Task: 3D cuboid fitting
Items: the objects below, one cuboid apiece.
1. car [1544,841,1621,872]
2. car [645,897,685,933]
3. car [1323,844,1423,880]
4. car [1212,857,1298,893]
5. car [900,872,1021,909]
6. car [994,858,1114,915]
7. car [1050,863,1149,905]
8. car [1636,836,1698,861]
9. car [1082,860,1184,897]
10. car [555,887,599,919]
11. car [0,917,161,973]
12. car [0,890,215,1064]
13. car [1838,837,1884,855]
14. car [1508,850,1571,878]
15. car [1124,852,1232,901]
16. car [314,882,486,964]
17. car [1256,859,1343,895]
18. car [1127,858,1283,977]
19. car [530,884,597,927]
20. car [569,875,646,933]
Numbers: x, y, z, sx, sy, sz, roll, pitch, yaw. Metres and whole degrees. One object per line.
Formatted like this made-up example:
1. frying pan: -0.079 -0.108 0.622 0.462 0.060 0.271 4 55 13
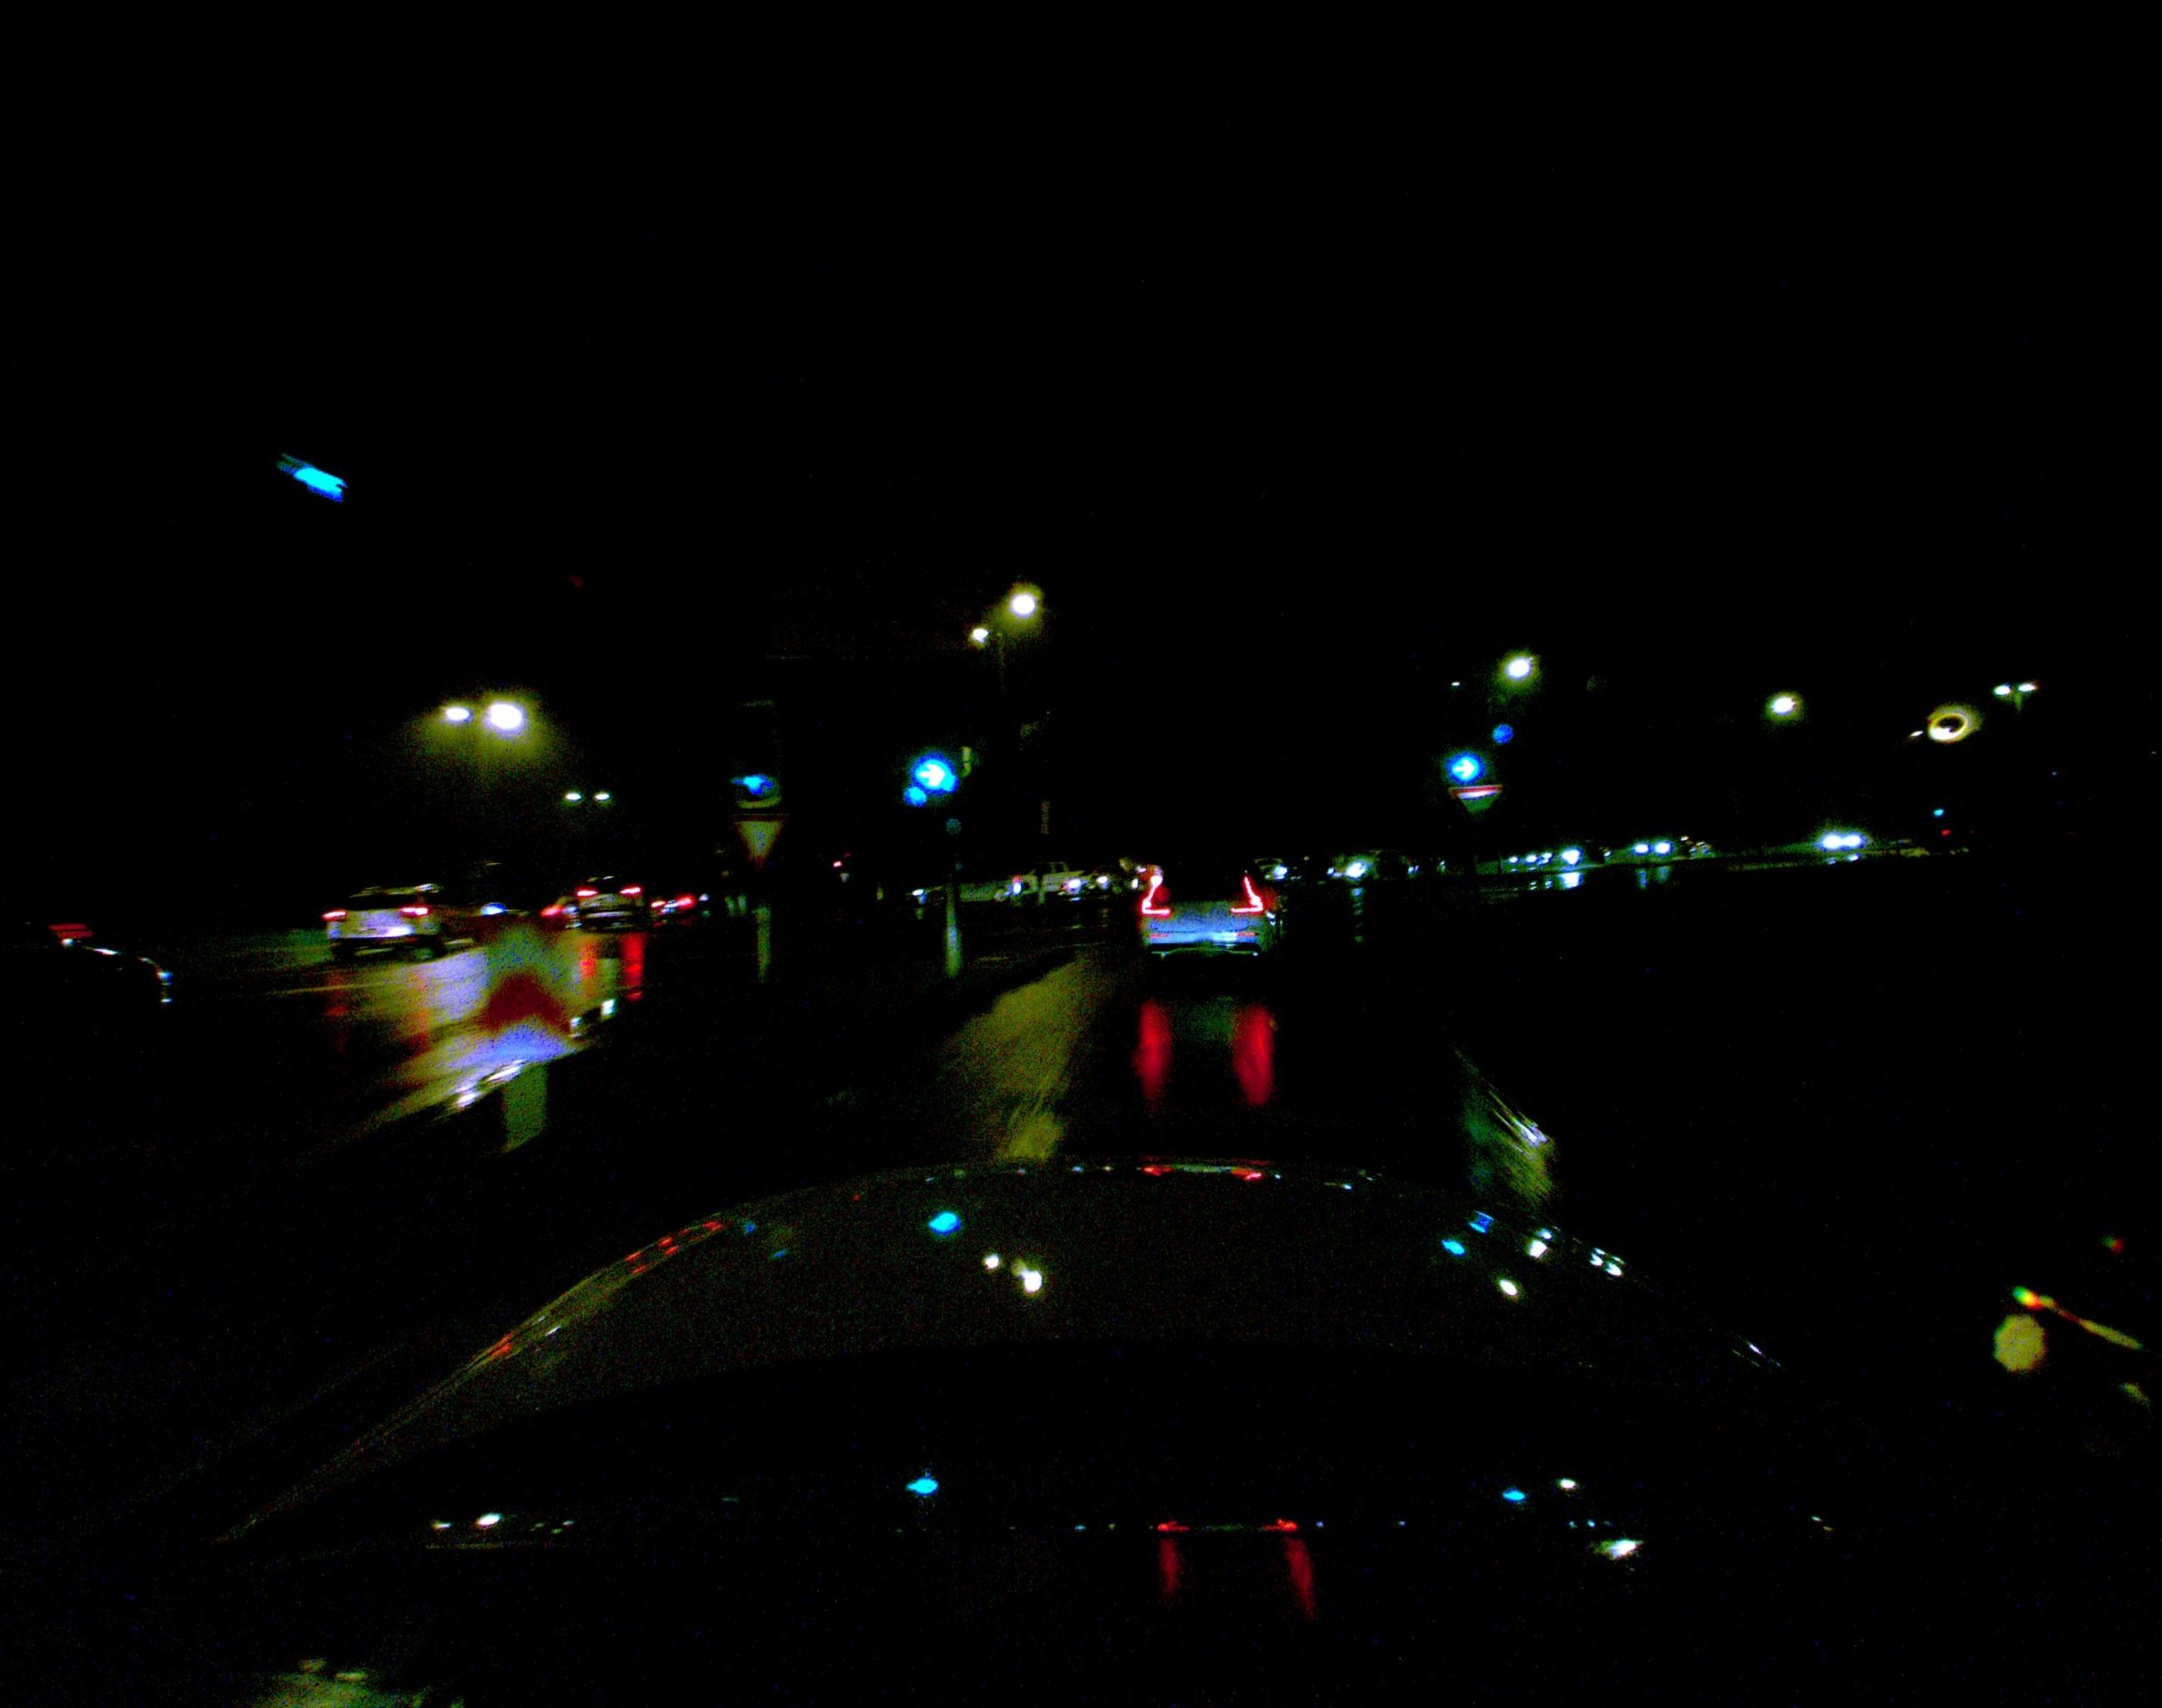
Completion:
1. car: 28.542 0.126 46.340 4.319 1.578 1.801 -2 -2 -30
2. car: -22.840 3.292 44.656 1.838 1.653 4.439 1 -1 -28
3. car: 13.330 0.339 37.136 4.423 1.484 1.766 -2 1 -28
4. car: 9.148 1.111 42.767 4.262 1.799 1.787 0 -2 -29
5. car: -5.124 1.549 34.782 4.815 1.427 1.749 0 -2 -28
6. car: -1.338 1.588 40.924 5.623 2.710 2.235 0 -2 -28
7. car: 0.887 1.382 38.002 4.296 1.848 1.748 0 -2 -29
8. car: 40.994 -0.387 56.967 4.500 1.666 1.787 0 -1 -30
9. car: 2.224 1.032 34.990 4.064 1.487 1.703 0 -2 -25
10. car: -35.098 3.398 56.842 1.782 2.079 3.973 1 -2 -20
11. car: -33.993 2.976 27.168 1.821 1.474 4.042 0 -1 5
12. car: -10.278 1.123 7.082 1.833 1.408 4.100 -1 0 -15
13. car: 70.474 -0.694 73.560 4.444 1.531 1.871 0 -1 -30
14. car: 31.053 0.699 55.136 4.010 1.849 1.812 0 -2 -29
15. car: 3.858 0.885 32.370 3.910 1.725 1.750 -2 -1 -27
16. car: -14.952 1.424 18.163 1.744 1.436 4.257 -2 0 -23
17. car: 10.681 1.108 39.837 3.987 1.666 1.787 0 -2 -29
18. car: 2.042 0.812 12.293 1.783 1.452 4.286 -1 0 15
19. car: -21.824 2.145 34.489 1.919 1.658 3.952 -1 -2 -26
20. car: -14.332 1.468 24.827 1.861 1.592 3.986 0 -2 -28
